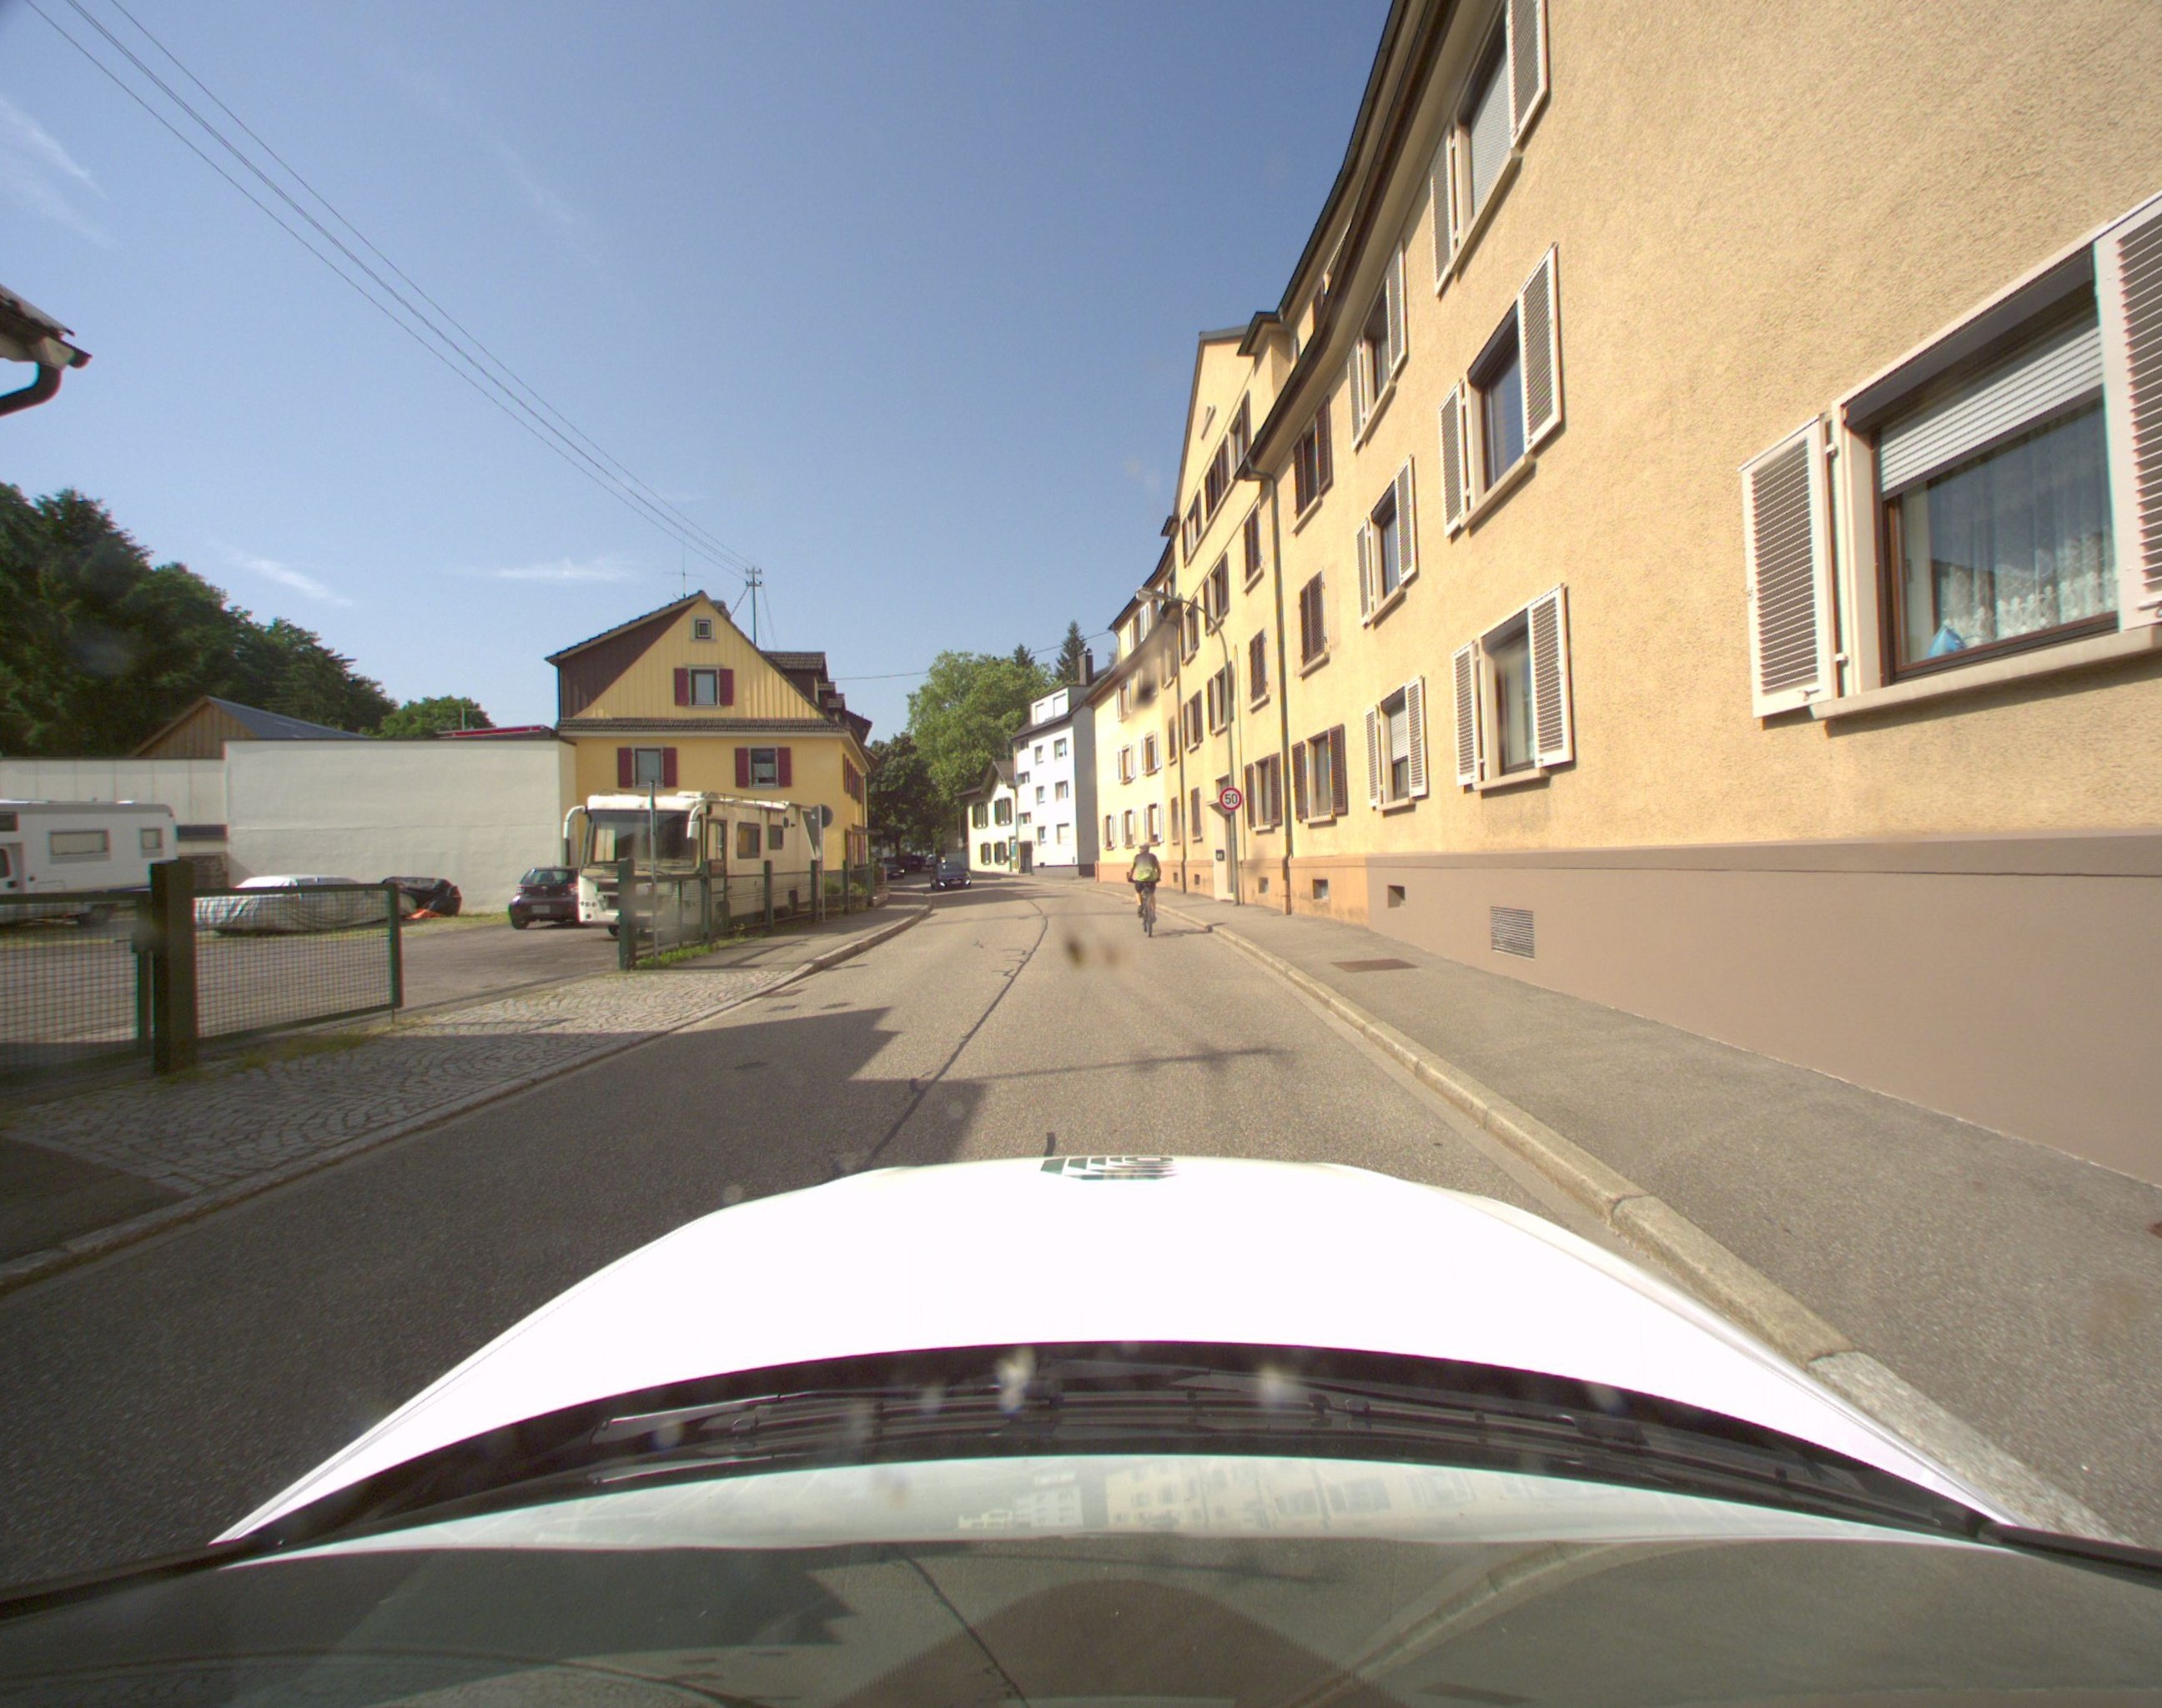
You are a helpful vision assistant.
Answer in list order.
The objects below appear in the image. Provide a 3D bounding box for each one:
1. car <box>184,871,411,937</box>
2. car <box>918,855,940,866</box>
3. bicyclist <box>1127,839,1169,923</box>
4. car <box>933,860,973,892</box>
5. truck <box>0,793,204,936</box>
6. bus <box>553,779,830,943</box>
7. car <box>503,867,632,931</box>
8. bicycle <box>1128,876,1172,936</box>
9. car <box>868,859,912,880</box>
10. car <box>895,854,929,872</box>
[{"bbox_3d":[-18.391,1.107,19.420,1.589,1.269,3.998,0,1,-1],"label":"car"},{"bbox_3d":[-18.128,0.807,97.133,1.591,1.257,3.825,-3,0,-25],"label":"car"},{"bbox_3d":[1.259,0.497,15.483,0.683,1.531,0.715,-3,-1,0],"label":"bicyclist"},{"bbox_3d":[-6.952,1.135,43.925,1.750,1.453,4.009,-6,1,-13],"label":"car"},{"bbox_3d":[-24.609,0.211,19.157,2.406,3.058,5.720,0,1,-10],"label":"truck"},{"bbox_3d":[-9.123,0.144,20.703,2.812,3.228,9.031,0,0,-1],"label":"bus"},{"bbox_3d":[-12.989,1.072,20.866,1.769,1.432,3.977,0,-1,-17],"label":"car"},{"bbox_3d":[1.292,0.967,15.501,0.696,1.035,1.471,-1,0,0],"label":"bicycle"},{"bbox_3d":[-15.765,1.325,67.004,1.673,1.449,4.208,-5,1,-41],"label":"car"},{"bbox_3d":[-17.452,0.892,84.008,1.837,1.791,3.954,-3,2,-38],"label":"car"}]
